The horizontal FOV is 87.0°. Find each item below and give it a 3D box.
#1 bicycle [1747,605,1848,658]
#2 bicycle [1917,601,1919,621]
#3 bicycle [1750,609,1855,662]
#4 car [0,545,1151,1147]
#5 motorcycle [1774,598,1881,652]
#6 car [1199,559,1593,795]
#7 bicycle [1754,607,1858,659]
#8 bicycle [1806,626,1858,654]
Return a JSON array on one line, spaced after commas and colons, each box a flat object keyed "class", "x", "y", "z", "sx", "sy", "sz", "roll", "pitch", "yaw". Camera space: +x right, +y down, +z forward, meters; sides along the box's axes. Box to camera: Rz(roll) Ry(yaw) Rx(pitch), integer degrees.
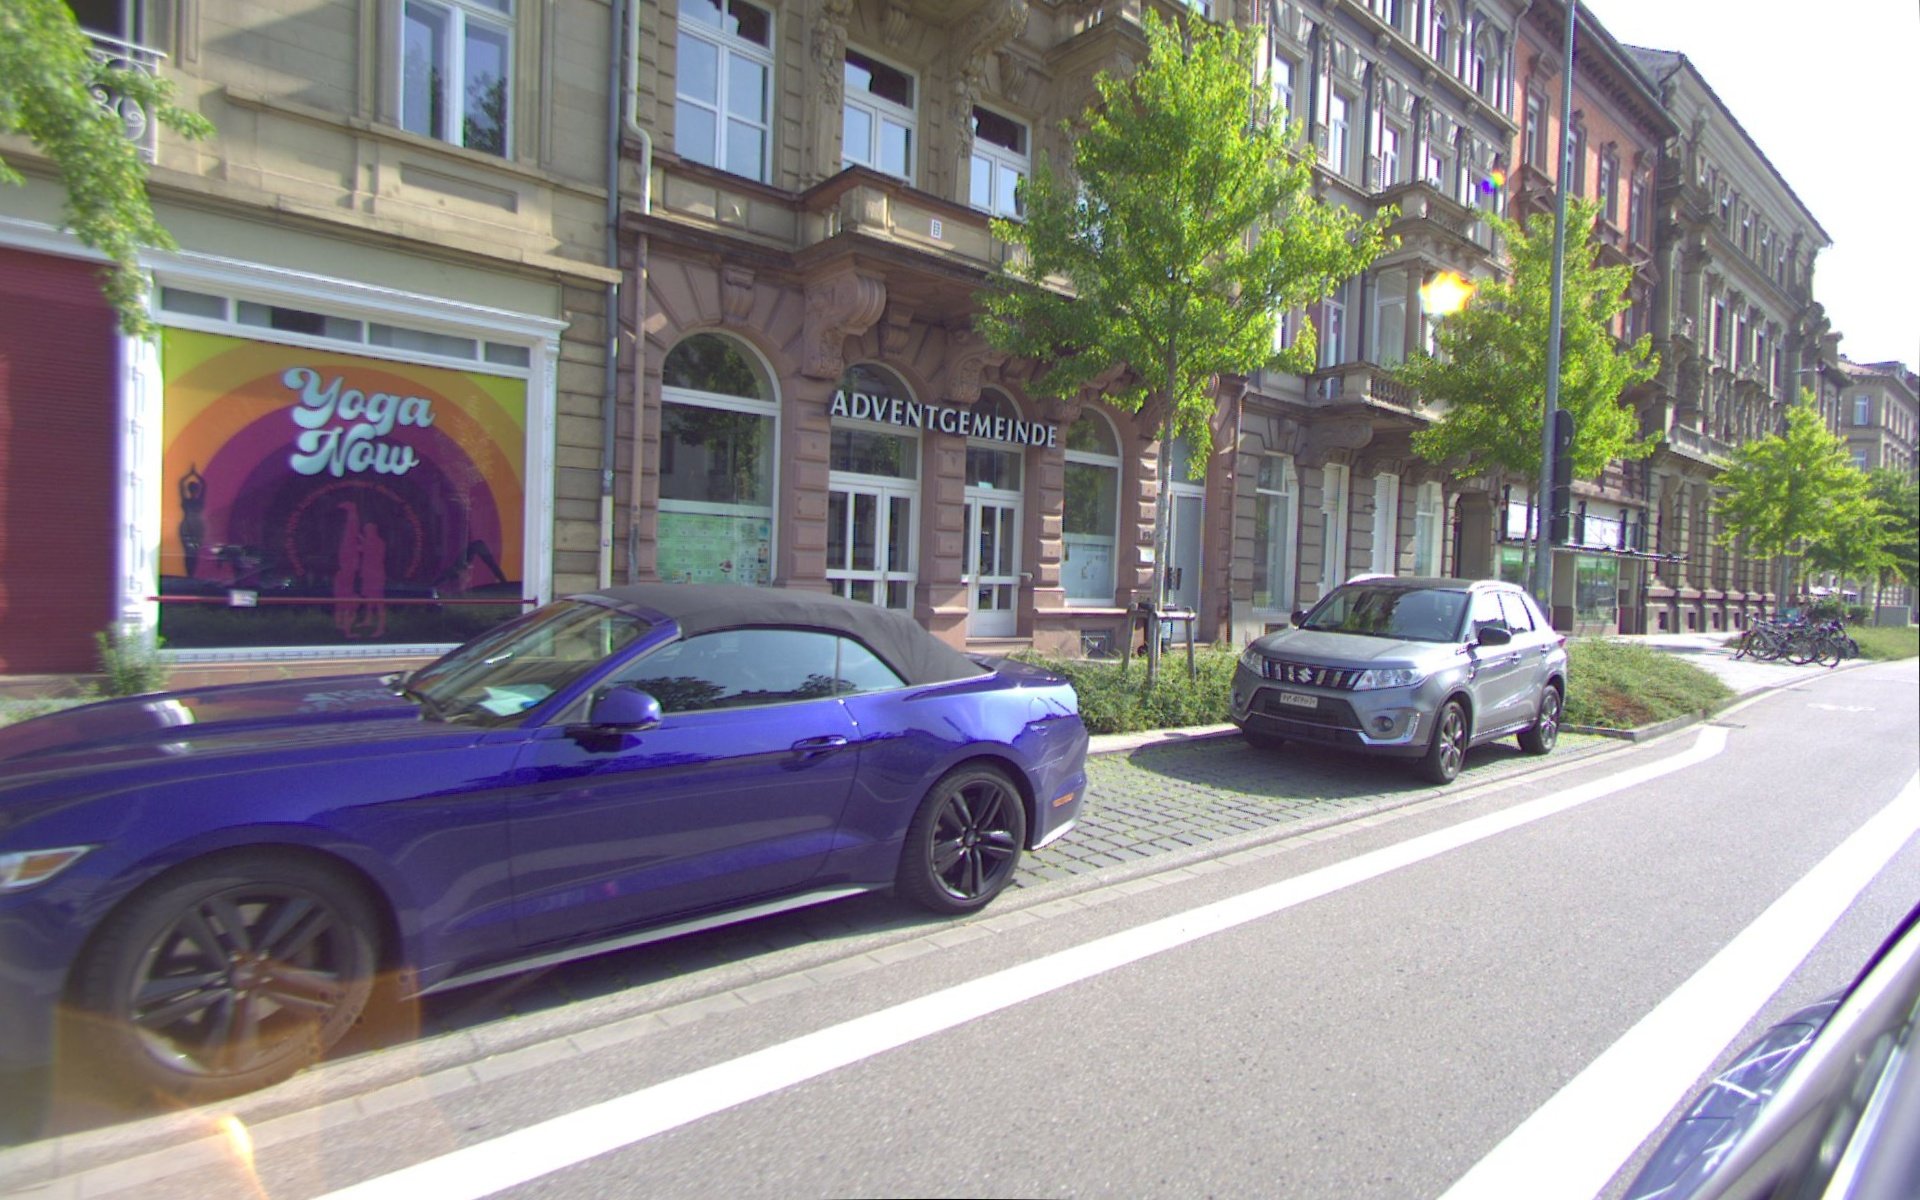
[{"class": "bicycle", "x": 20.585, "y": 0.751, "z": 24.911, "sx": 0.661, "sy": 1.109, "sz": 1.808, "roll": 0, "pitch": 4, "yaw": -45}, {"class": "bicycle", "x": 46.405, "y": 0.600, "z": 47.708, "sx": 0.496, "sy": 0.964, "sz": 1.790, "roll": 2, "pitch": 4, "yaw": -23}, {"class": "bicycle", "x": 19.590, "y": 0.806, "z": 23.567, "sx": 0.366, "sy": 1.067, "sz": 1.789, "roll": 1, "pitch": 3, "yaw": -41}, {"class": "car", "x": -1.383, "y": 0.572, "z": 4.330, "sx": 4.630, "sy": 1.413, "sz": 1.741, "roll": 0, "pitch": 3, "yaw": -40}, {"class": "motorcycle", "x": 23.649, "y": 0.669, "z": 27.626, "sx": 2.012, "sy": 1.302, "sz": 0.702, "roll": 4, "pitch": 2, "yaw": 15}, {"class": "car", "x": 4.136, "y": 0.523, "z": 9.245, "sx": 4.177, "sy": 1.607, "sz": 1.772, "roll": 0, "pitch": 3, "yaw": -44}, {"class": "bicycle", "x": 19.892, "y": 0.759, "z": 23.820, "sx": 0.366, "sy": 1.067, "sz": 1.789, "roll": 1, "pitch": 3, "yaw": -41}, {"class": "bicycle", "x": 22.957, "y": 1.048, "z": 26.650, "sx": 0.354, "sy": 0.617, "sz": 0.961, "roll": 1, "pitch": 3, "yaw": -38}]
